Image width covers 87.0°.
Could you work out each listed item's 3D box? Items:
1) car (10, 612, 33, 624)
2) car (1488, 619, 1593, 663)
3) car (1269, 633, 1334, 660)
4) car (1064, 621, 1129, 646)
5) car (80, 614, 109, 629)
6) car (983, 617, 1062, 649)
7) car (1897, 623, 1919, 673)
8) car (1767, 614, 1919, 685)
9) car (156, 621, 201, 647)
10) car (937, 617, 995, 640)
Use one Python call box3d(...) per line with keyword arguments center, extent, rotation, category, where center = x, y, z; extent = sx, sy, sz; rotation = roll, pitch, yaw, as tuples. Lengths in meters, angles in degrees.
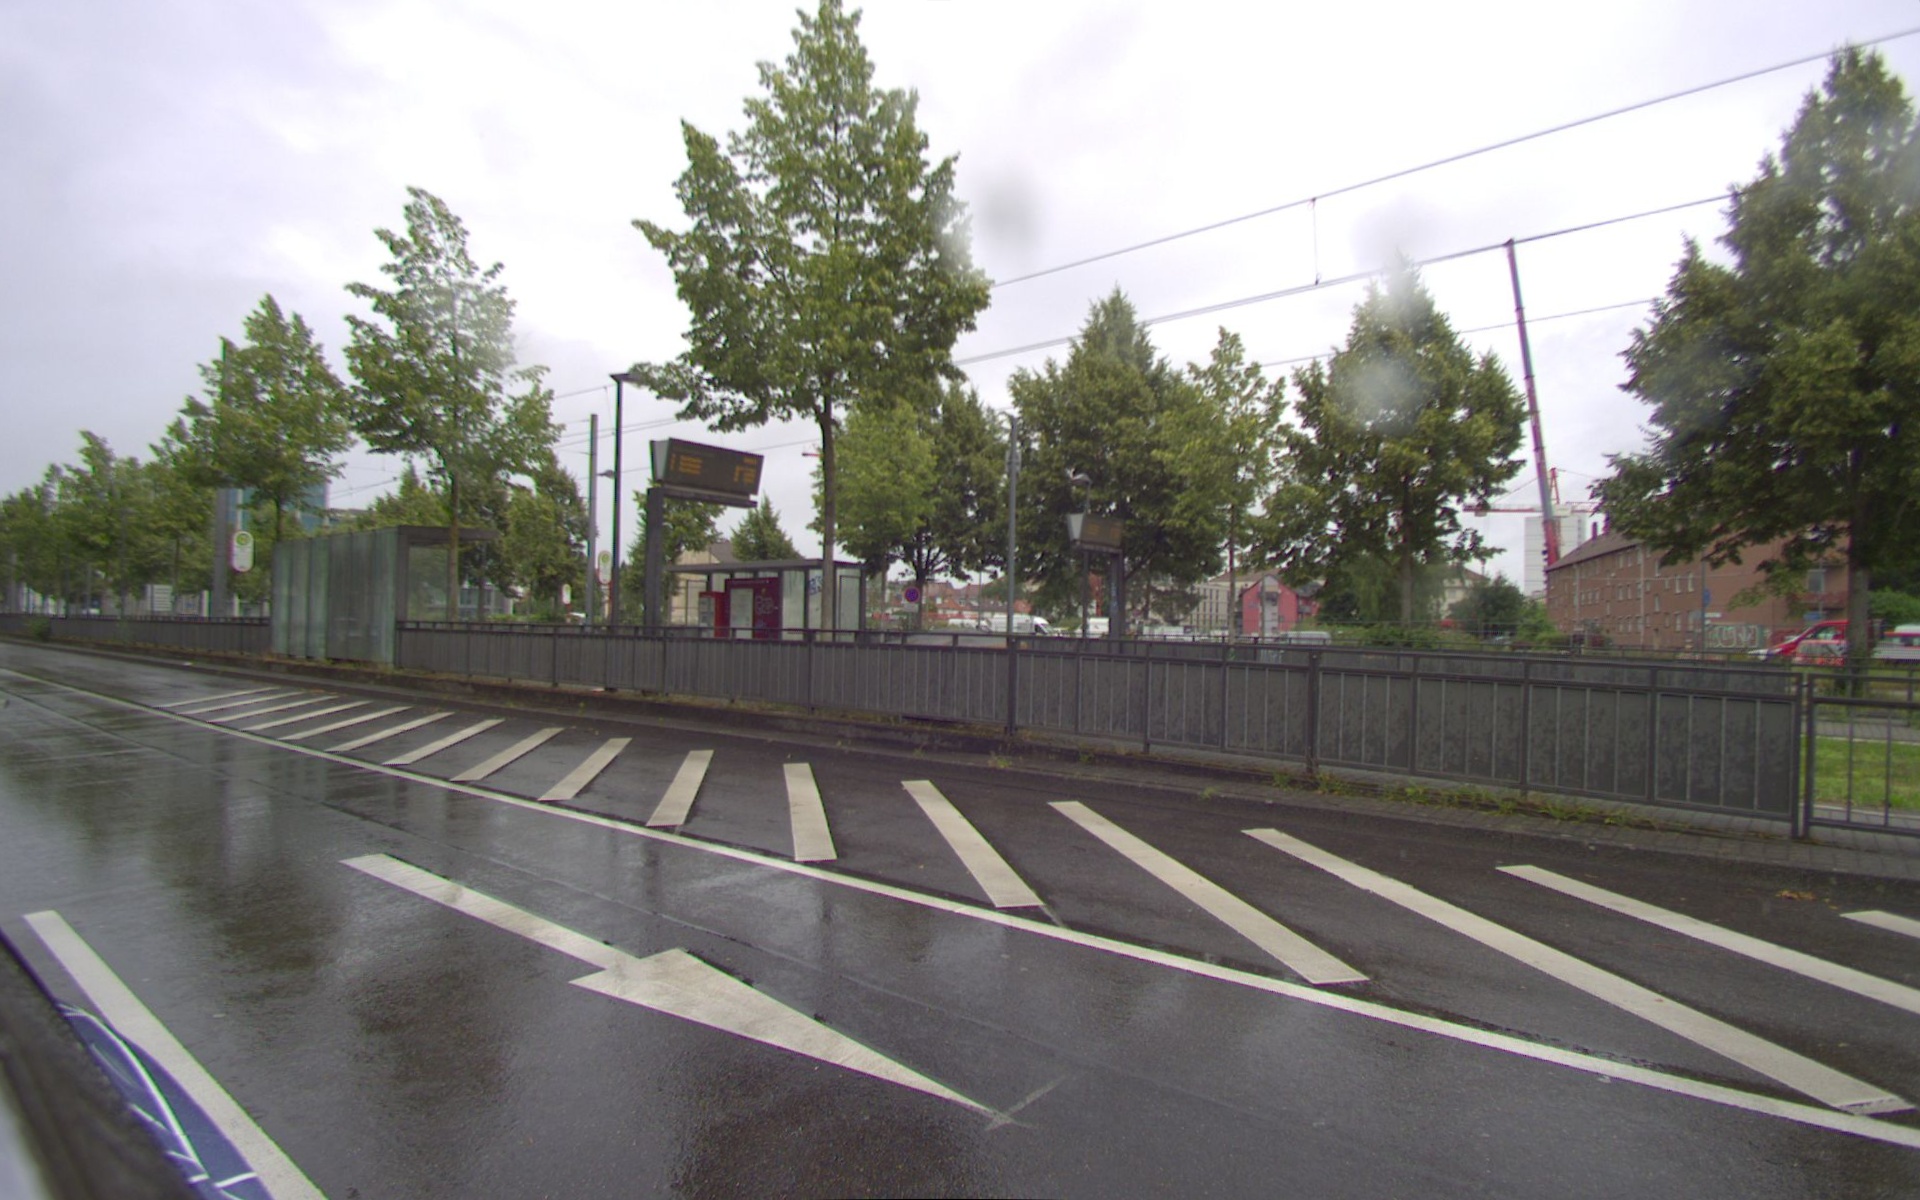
box3d(center=(-143.135, 2.787, 154.313), extent=(3.995, 1.759, 1.974), rotation=(0, 0, 38), category="car")
box3d(center=(35.879, 2.479, 62.599), extent=(5.482, 2.471, 1.976), rotation=(0, 0, 36), category="car")
box3d(center=(26.266, 3.519, 77.952), extent=(4.415, 1.891, 1.855), rotation=(0, 0, 34), category="car")
box3d(center=(11.932, 2.925, 88.753), extent=(5.412, 2.067, 1.976), rotation=(0, 0, 37), category="car")
box3d(center=(-106.211, 2.597, 124.168), extent=(3.995, 1.759, 1.974), rotation=(0, 0, 38), category="car")
box3d(center=(5.256, 2.754, 85.880), extent=(6.735, 2.480, 1.975), rotation=(0, 0, 37), category="car")
box3d(center=(45.957, 2.174, 44.948), extent=(1.597, 2.296, 6.114), rotation=(2, -3, -37), category="car")
box3d(center=(33.581, 1.773, 36.701), extent=(1.597, 2.489, 6.500), rotation=(2, -2, -39), category="car")
box3d(center=(-64.036, 2.766, 82.868), extent=(3.990, 2.029, 1.742), rotation=(-1, -2, 35), category="car")
box3d(center=(0.619, 3.002, 108.312), extent=(6.123, 2.323, 1.978), rotation=(0, 0, 32), category="car")
